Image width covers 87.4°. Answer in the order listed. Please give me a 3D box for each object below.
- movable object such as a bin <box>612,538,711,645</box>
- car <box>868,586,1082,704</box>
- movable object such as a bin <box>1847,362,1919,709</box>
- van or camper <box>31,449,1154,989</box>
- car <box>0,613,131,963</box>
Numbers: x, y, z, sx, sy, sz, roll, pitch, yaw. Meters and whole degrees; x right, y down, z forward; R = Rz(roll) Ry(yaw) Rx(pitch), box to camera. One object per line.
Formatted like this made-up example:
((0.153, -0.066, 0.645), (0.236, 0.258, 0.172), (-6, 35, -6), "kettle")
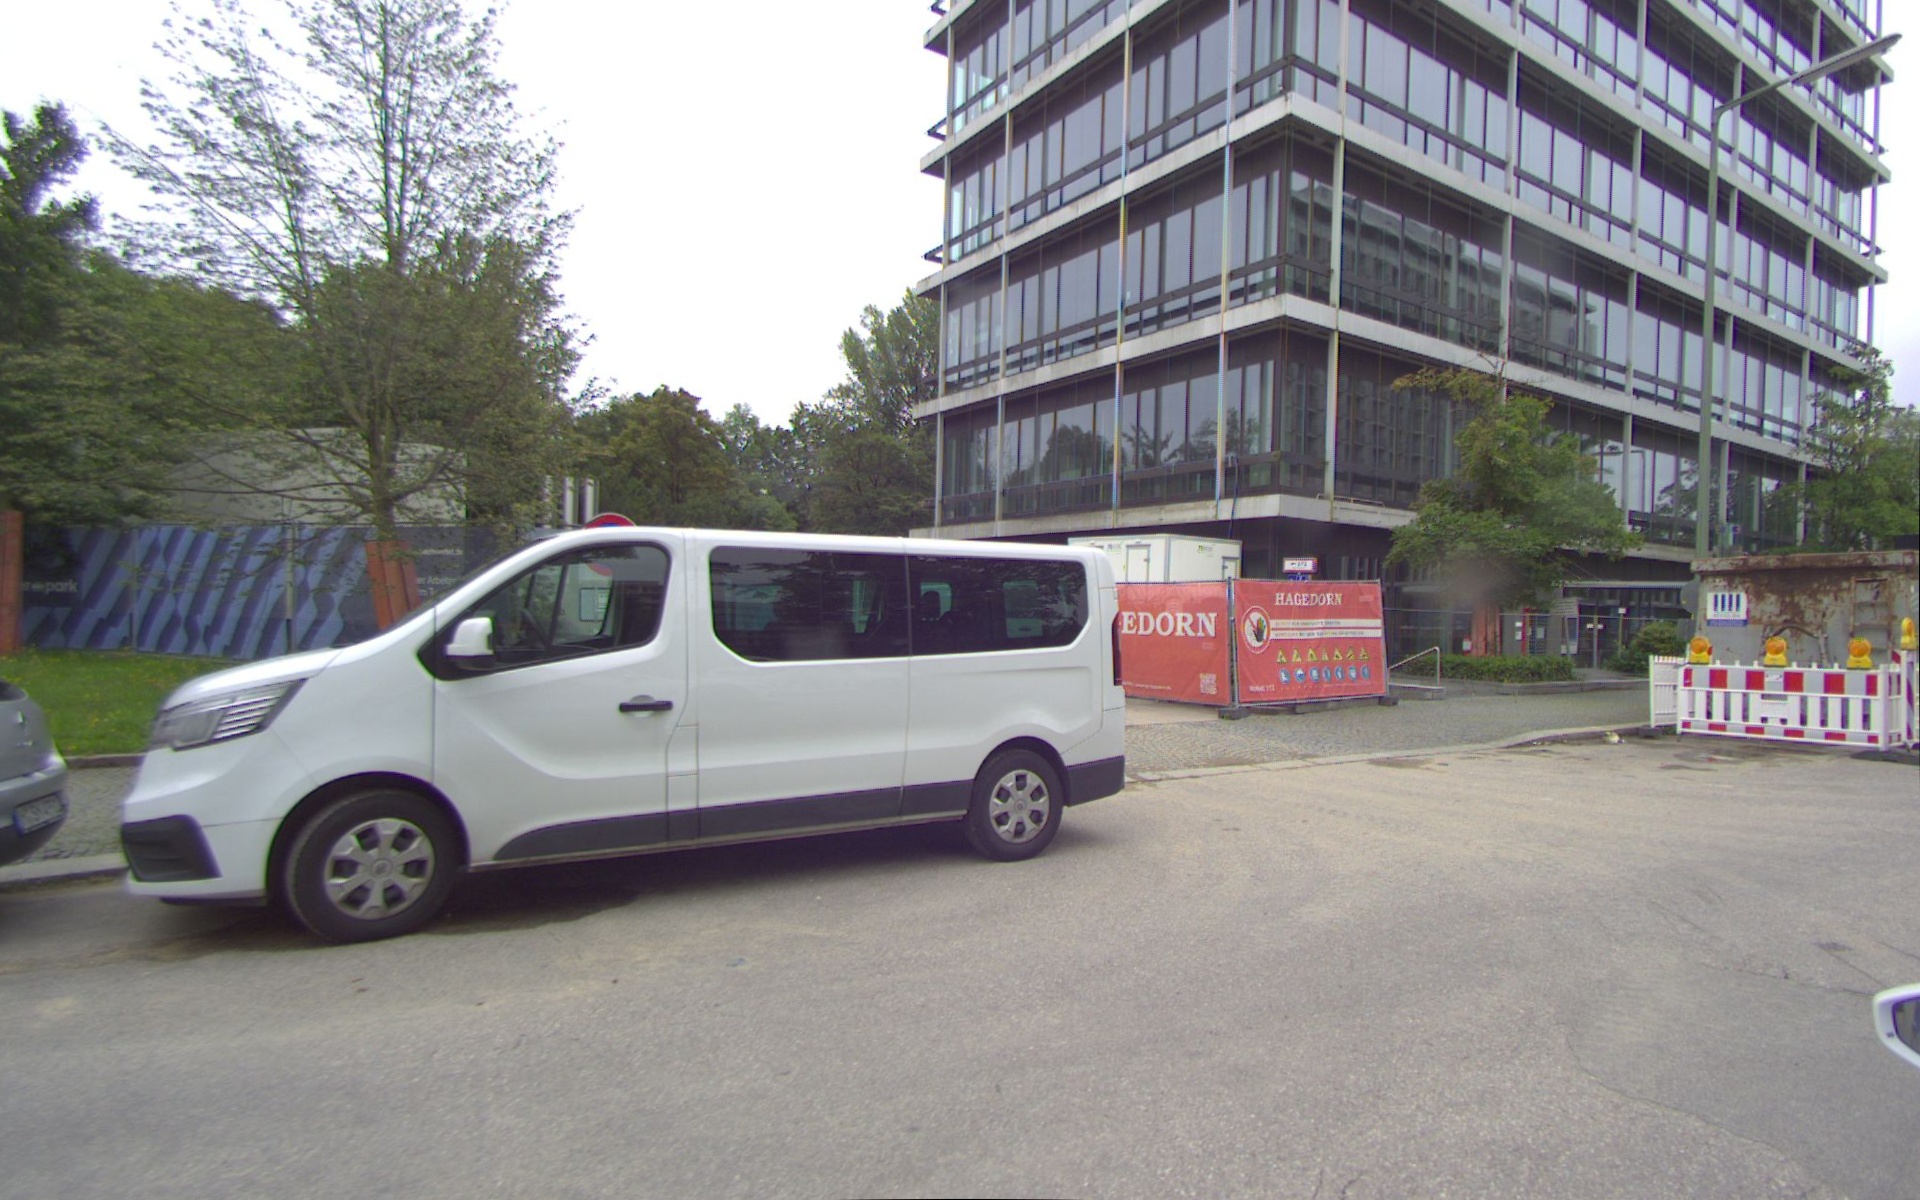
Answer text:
((-11.175, -0.275, 37.375), (2.550, 3.676, 4.568), (2, -1, -29), "movable object such as a bin")
((0.111, 0.719, 18.511), (1.762, 1.890, 4.676), (2, 0, -30), "car")
((23.426, -1.051, 22.118), (11.661, 6.651, 2.886), (2, 0, -34), "movable object such as a bin")
((-1.602, 0.522, 6.077), (5.519, 2.061, 1.980), (1, -1, -30), "van or camper")
((-6.127, 0.756, 3.905), (4.066, 1.477, 1.987), (2, -2, -27), "car")
